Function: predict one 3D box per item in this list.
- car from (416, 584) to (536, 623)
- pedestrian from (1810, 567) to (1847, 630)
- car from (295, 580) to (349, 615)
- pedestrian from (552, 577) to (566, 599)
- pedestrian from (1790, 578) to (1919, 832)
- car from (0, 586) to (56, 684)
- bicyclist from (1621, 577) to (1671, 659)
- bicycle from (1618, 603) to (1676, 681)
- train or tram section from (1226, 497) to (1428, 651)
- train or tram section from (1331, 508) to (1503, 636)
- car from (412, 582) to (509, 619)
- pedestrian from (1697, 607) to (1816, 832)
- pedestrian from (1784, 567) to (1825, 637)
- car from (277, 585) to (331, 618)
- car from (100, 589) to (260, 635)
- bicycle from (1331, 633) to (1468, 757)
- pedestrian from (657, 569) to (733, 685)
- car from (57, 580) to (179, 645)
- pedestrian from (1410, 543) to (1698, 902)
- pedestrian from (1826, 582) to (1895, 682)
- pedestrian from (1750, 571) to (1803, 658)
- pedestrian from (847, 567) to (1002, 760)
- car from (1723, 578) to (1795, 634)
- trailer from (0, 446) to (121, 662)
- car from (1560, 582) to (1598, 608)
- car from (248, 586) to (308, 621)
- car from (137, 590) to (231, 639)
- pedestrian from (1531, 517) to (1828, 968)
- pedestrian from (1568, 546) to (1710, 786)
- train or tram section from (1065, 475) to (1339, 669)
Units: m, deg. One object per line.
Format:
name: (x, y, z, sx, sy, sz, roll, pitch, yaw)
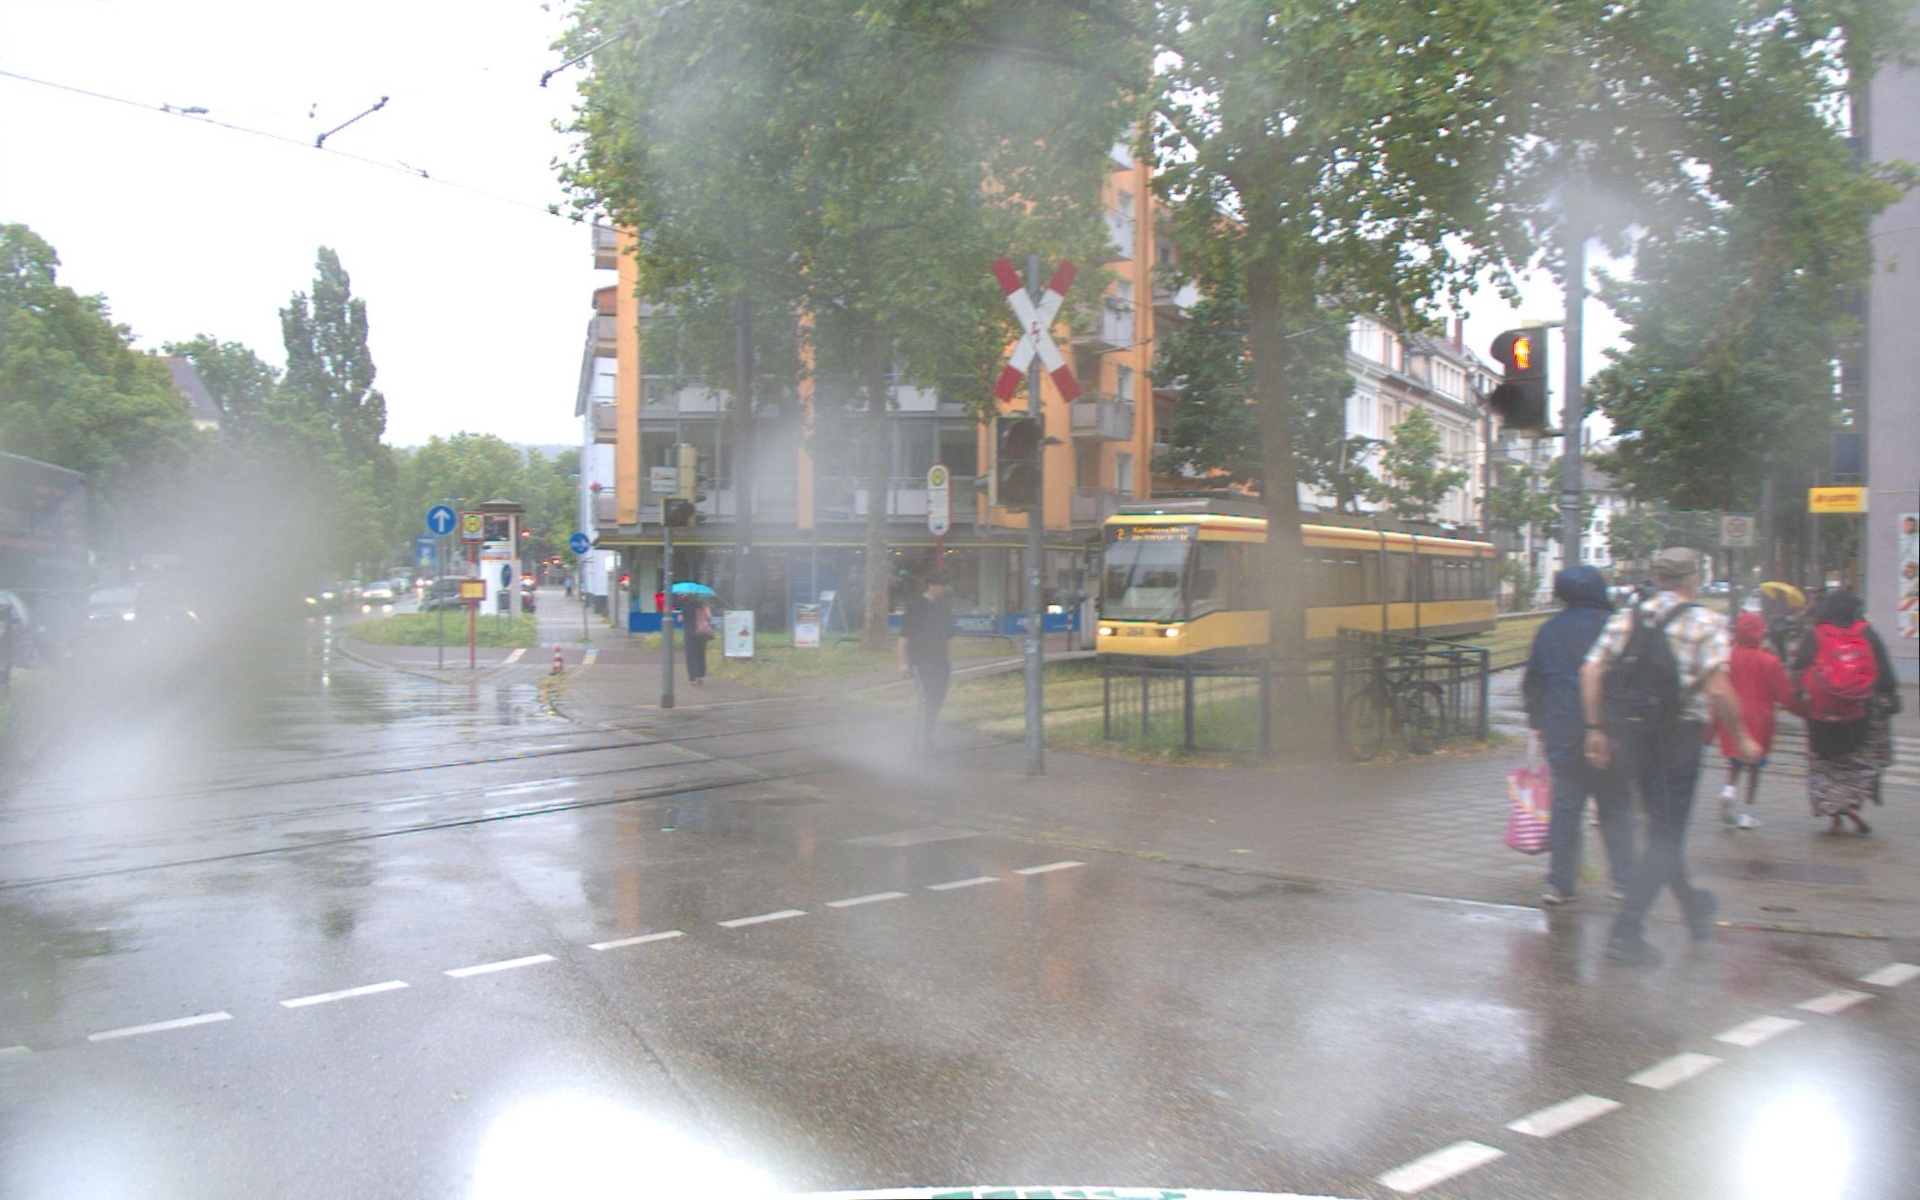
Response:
car: (-19.099, 0.126, 65.394, 4.457, 1.496, 1.976, -1, 0, -15)
pedestrian: (23.962, -0.056, 45.647, 0.901, 1.727, 0.954, 0, 1, 28)
car: (-32.456, -0.137, 84.254, 1.881, 1.668, 4.806, 1, 0, -13)
pedestrian: (-33.399, -1.012, 137.886, 1.043, 1.842, 1.092, 0, 0, -9)
pedestrian: (5.832, 0.652, 10.749, 0.676, 1.574, 0.762, 0, 1, 18)
car: (-15.489, 0.507, 25.793, 1.671, 1.397, 4.080, 0, 1, -17)
bicyclist: (11.524, 0.282, 27.770, 0.725, 1.332, 1.076, 0, 1, 25)
bicycle: (11.525, 0.683, 27.715, 0.736, 1.193, 2.039, 0, 1, 27)
train or tram section: (9.264, -0.623, 40.880, 2.588, 3.409, 8.362, 1, 1, 29)
train or tram section: (13.705, -0.797, 48.895, 2.588, 3.409, 9.970, 1, 1, 29)
car: (-22.257, 0.008, 73.820, 4.122, 1.595, 1.880, 0, 0, -17)
pedestrian: (5.334, 0.765, 11.122, 0.657, 1.405, 1.010, 0, 1, 22)
pedestrian: (21.287, 0.046, 41.689, 0.901, 1.727, 0.954, 0, 1, 29)
car: (-30.759, 0.030, 77.652, 1.749, 1.445, 4.250, -1, 1, -14)
car: (-26.586, 0.389, 56.435, 4.809, 1.479, 2.087, 0, 1, 18)
bicycle: (4.248, 0.892, 15.935, 1.603, 1.095, 0.440, 0, 1, -40)
pedestrian: (-4.501, 0.439, 28.016, 1.151, 1.897, 1.380, 0, 1, -14)
car: (-22.626, 0.352, 44.633, 1.835, 1.648, 4.786, 0, -1, -13)
pedestrian: (3.078, 0.573, 8.608, 1.042, 1.716, 0.986, -1, 1, -31)
pedestrian: (14.599, 0.497, 26.824, 0.973, 1.586, 0.783, 0, 0, 29)
pedestrian: (16.500, 0.274, 33.407, 0.934, 1.727, 0.920, 0, 1, 28)
pedestrian: (-0.361, 0.585, 16.410, 1.028, 1.820, 1.220, 0, 1, -38)
car: (25.721, 0.157, 53.179, 1.955, 1.702, 3.995, 0, 1, 28)
trailer: (-20.288, -0.889, 32.512, 3.384, 4.119, 14.996, 0, 1, -14)
car: (39.071, -0.347, 104.411, 1.954, 1.559, 3.998, 1, 1, 25)
car: (-29.052, 0.134, 70.564, 1.746, 1.428, 4.809, 1, 0, -16)
car: (-23.900, 0.406, 51.078, 1.696, 1.384, 4.324, -1, 1, -12)
pedestrian: (3.150, 0.558, 7.246, 0.982, 1.812, 0.802, -1, 1, -34)
pedestrian: (4.641, 0.416, 11.330, 0.858, 1.552, 1.065, 0, 1, 22)
train or tram section: (5.157, -0.549, 33.600, 2.588, 3.428, 8.360, 1, 1, 30)
